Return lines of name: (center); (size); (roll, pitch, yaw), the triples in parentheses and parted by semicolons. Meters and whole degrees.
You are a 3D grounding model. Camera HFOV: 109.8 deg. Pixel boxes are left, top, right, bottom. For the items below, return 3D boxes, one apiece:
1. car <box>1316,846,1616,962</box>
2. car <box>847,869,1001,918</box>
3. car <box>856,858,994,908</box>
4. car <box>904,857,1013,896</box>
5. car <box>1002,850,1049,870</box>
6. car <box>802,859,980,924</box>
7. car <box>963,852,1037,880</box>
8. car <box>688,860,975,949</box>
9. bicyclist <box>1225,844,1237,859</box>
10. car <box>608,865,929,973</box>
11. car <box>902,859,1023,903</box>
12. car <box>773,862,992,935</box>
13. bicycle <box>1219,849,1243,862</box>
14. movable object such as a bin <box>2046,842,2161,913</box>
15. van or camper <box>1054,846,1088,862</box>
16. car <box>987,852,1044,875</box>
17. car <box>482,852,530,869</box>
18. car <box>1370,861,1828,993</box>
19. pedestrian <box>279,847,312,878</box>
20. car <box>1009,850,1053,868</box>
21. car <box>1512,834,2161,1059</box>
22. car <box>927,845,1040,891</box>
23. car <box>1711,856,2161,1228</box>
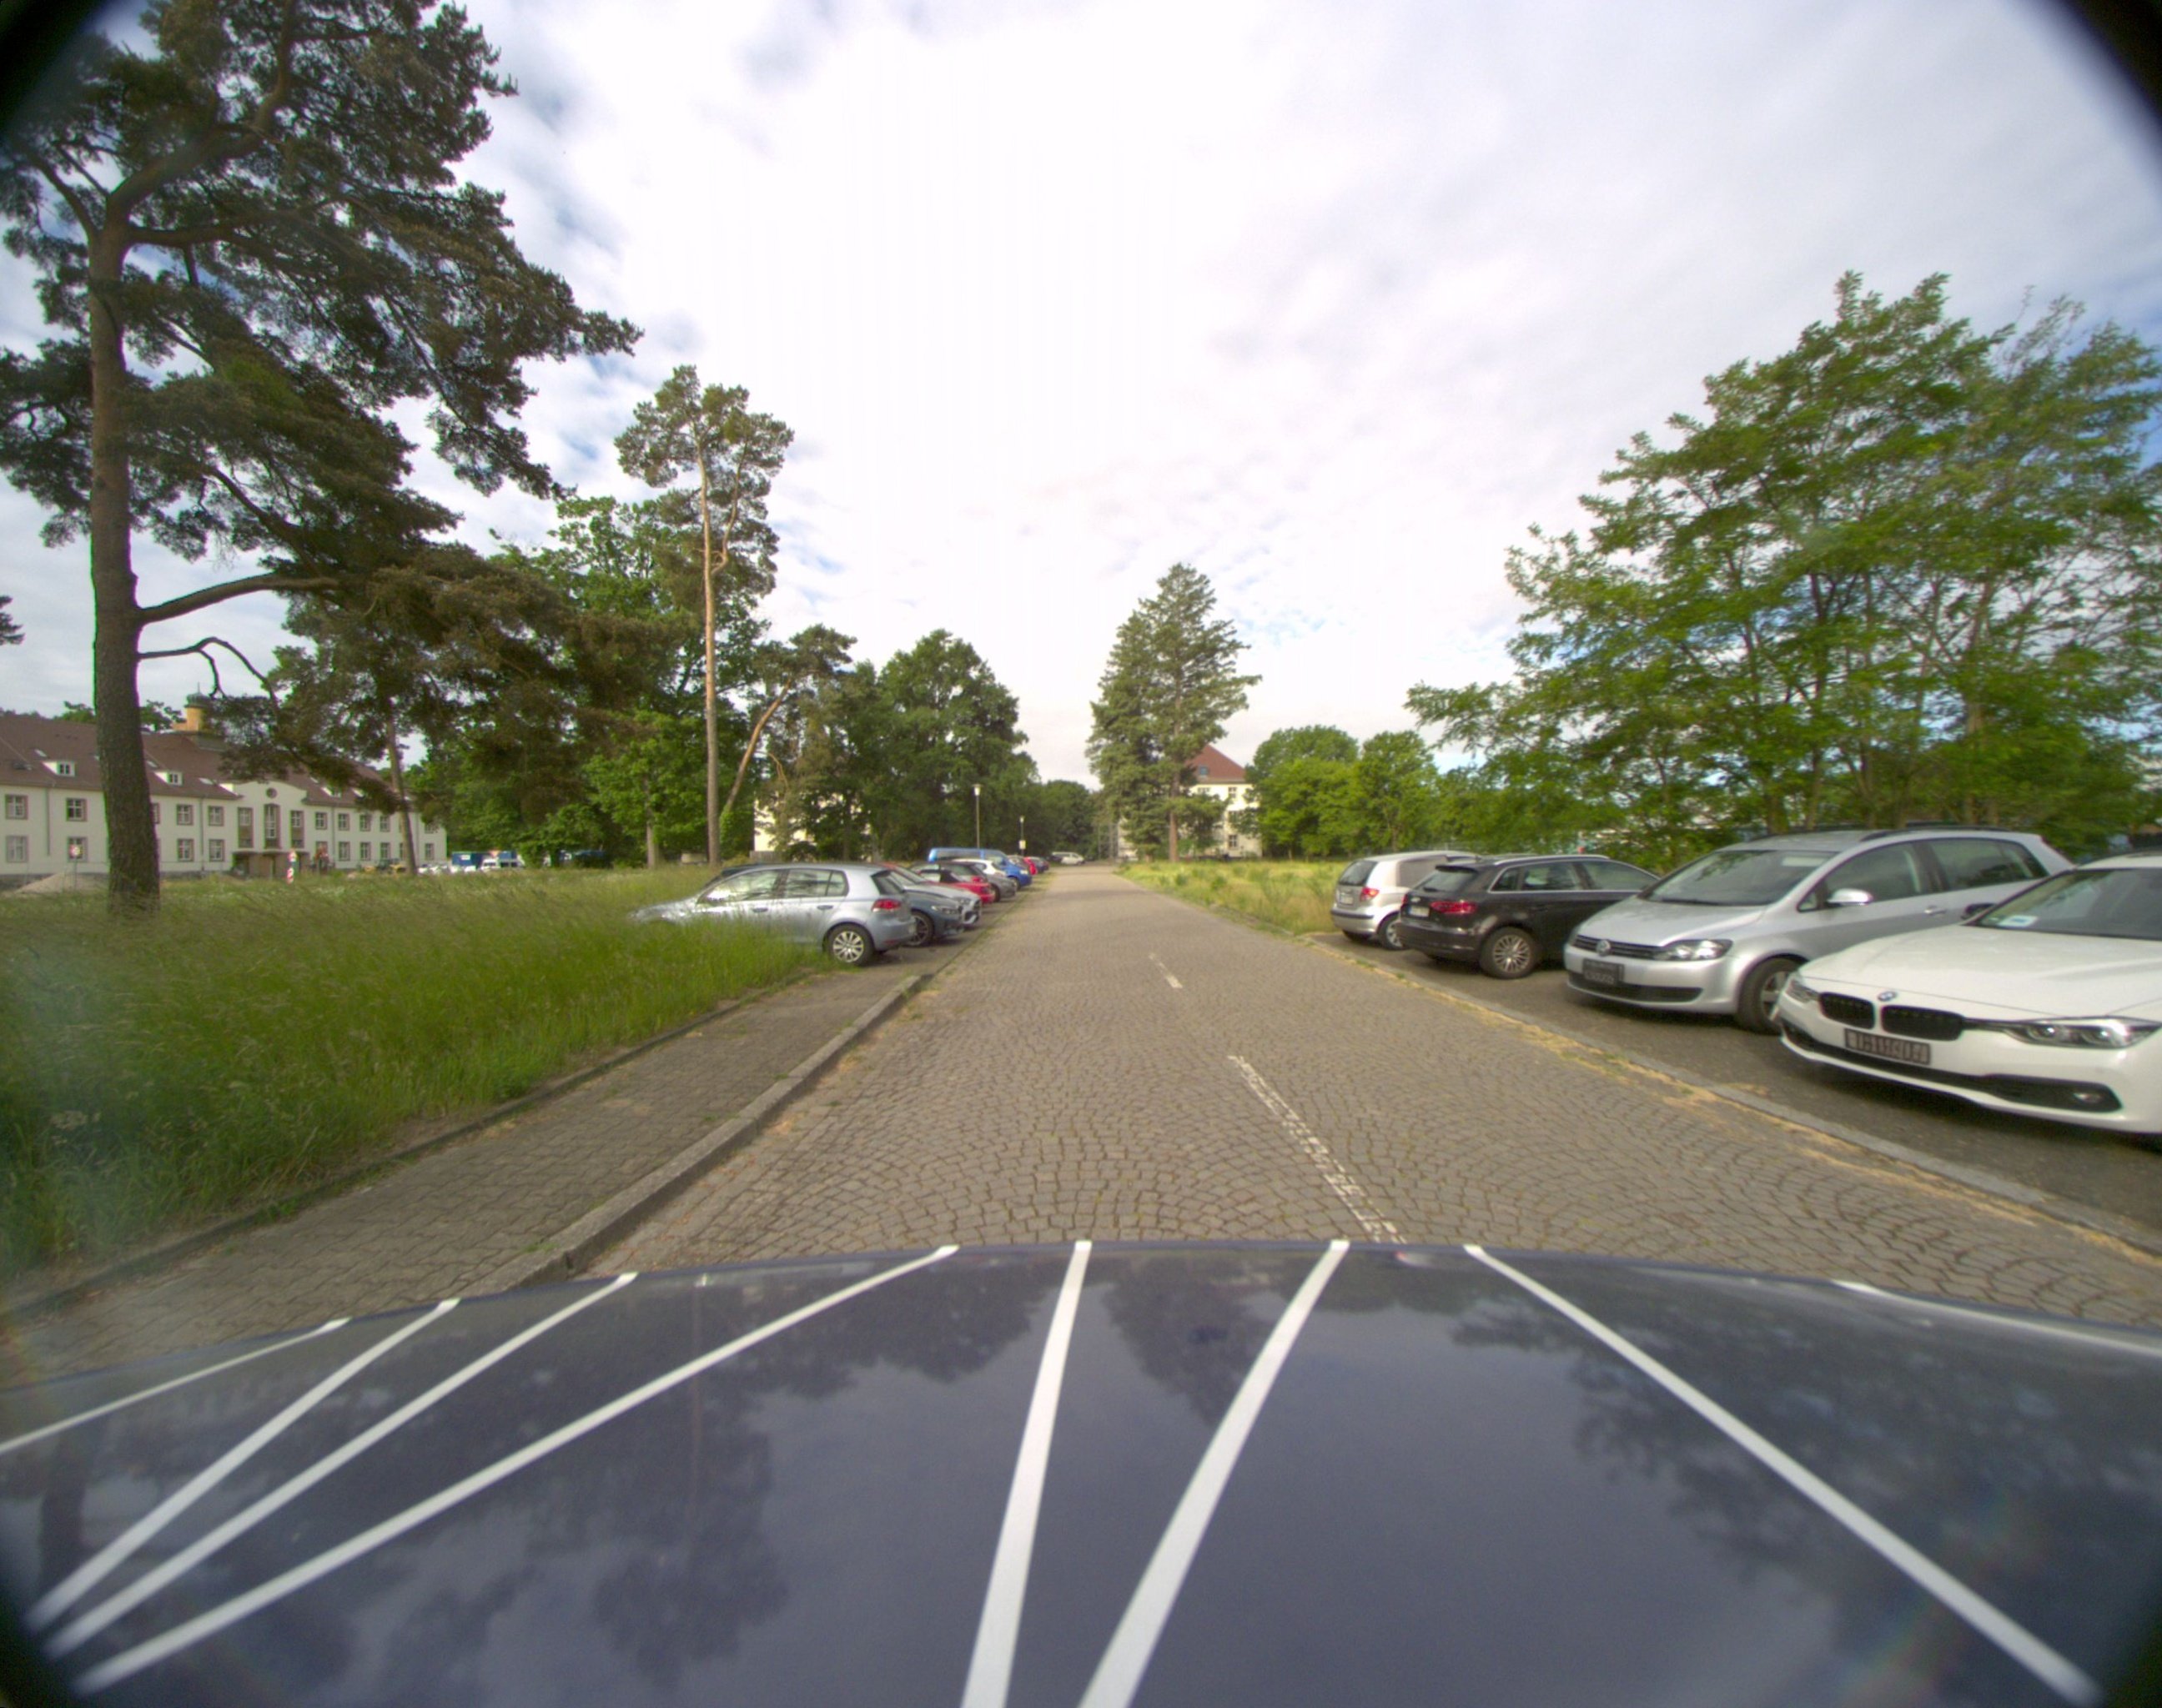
car: (6.109, 0.735, 12.317); (3.985, 1.448, 1.680); (-4, 1, -5)
car: (-4.352, 1.094, 21.437); (3.933, 1.227, 1.796); (-1, 1, 1)
car: (-4.839, 0.890, 23.960); (3.933, 1.467, 1.796); (-1, 1, 1)
car: (-4.749, 0.865, 29.837); (3.933, 1.441, 1.796); (-1, 1, 0)
car: (-4.649, 0.500, 64.531); (3.791, 1.560, 2.000); (-1, 1, 1)
car: (-4.640, 0.903, 18.936); (3.932, 1.504, 1.797); (-1, 1, 2)
car: (-4.652, 0.675, 43.927); (3.996, 1.496, 1.869); (-1, 1, 2)
car: (-4.391, 0.874, 13.888); (4.630, 1.437, 1.796); (-1, 1, 0)
bicyclist: (17.964, -0.314, 90.955); (1.318, 1.857, 1.250); (-1, 1, 5)
car: (-4.460, 0.905, 11.295); (3.997, 1.410, 1.796); (-1, 1, 1)
car: (-4.104, 0.926, 26.717); (3.933, 1.427, 1.796); (-1, 1, 0)
car: (-4.222, 0.935, 16.612); (4.266, 1.437, 1.797); (-1, 1, 2)
bicycle: (17.970, 0.146, 90.968); (2.673, 1.496, 1.273); (-1, 1, 5)
movable object such as a bin: (19.279, 0.391, 13.599); (2.537, 1.205, 1.170); (-1, 1, -1)
van or camper: (-1.560, -0.042, 118.060); (5.248, 2.449, 2.208); (-1, 1, -3)
car: (-4.637, 0.656, 54.222); (3.998, 1.560, 1.999); (-1, 1, -3)
car: (-68.760, 0.735, 90.996); (2.166, 2.002, 4.833); (-1, 0, -2)
car: (6.362, 0.840, 9.695); (4.633, 1.414, 1.884); (-1, 1, -3)
pedestrian: (-54.916, 0.579, 53.137); (1.184, 2.165, 1.056); (-1, 1, 0)
car: (-4.478, 0.452, 69.012); (3.791, 1.615, 2.000); (-1, 1, 1)
car: (6.718, 0.710, 7.002); (4.486, 1.580, 1.846); (-2, 1, -4)
car: (-4.444, 0.626, 34.995); (4.839, 2.002, 2.000); (-1, 1, 4)
car: (6.811, 0.785, 4.396); (4.819, 1.431, 1.913); (-3, 1, -3)
